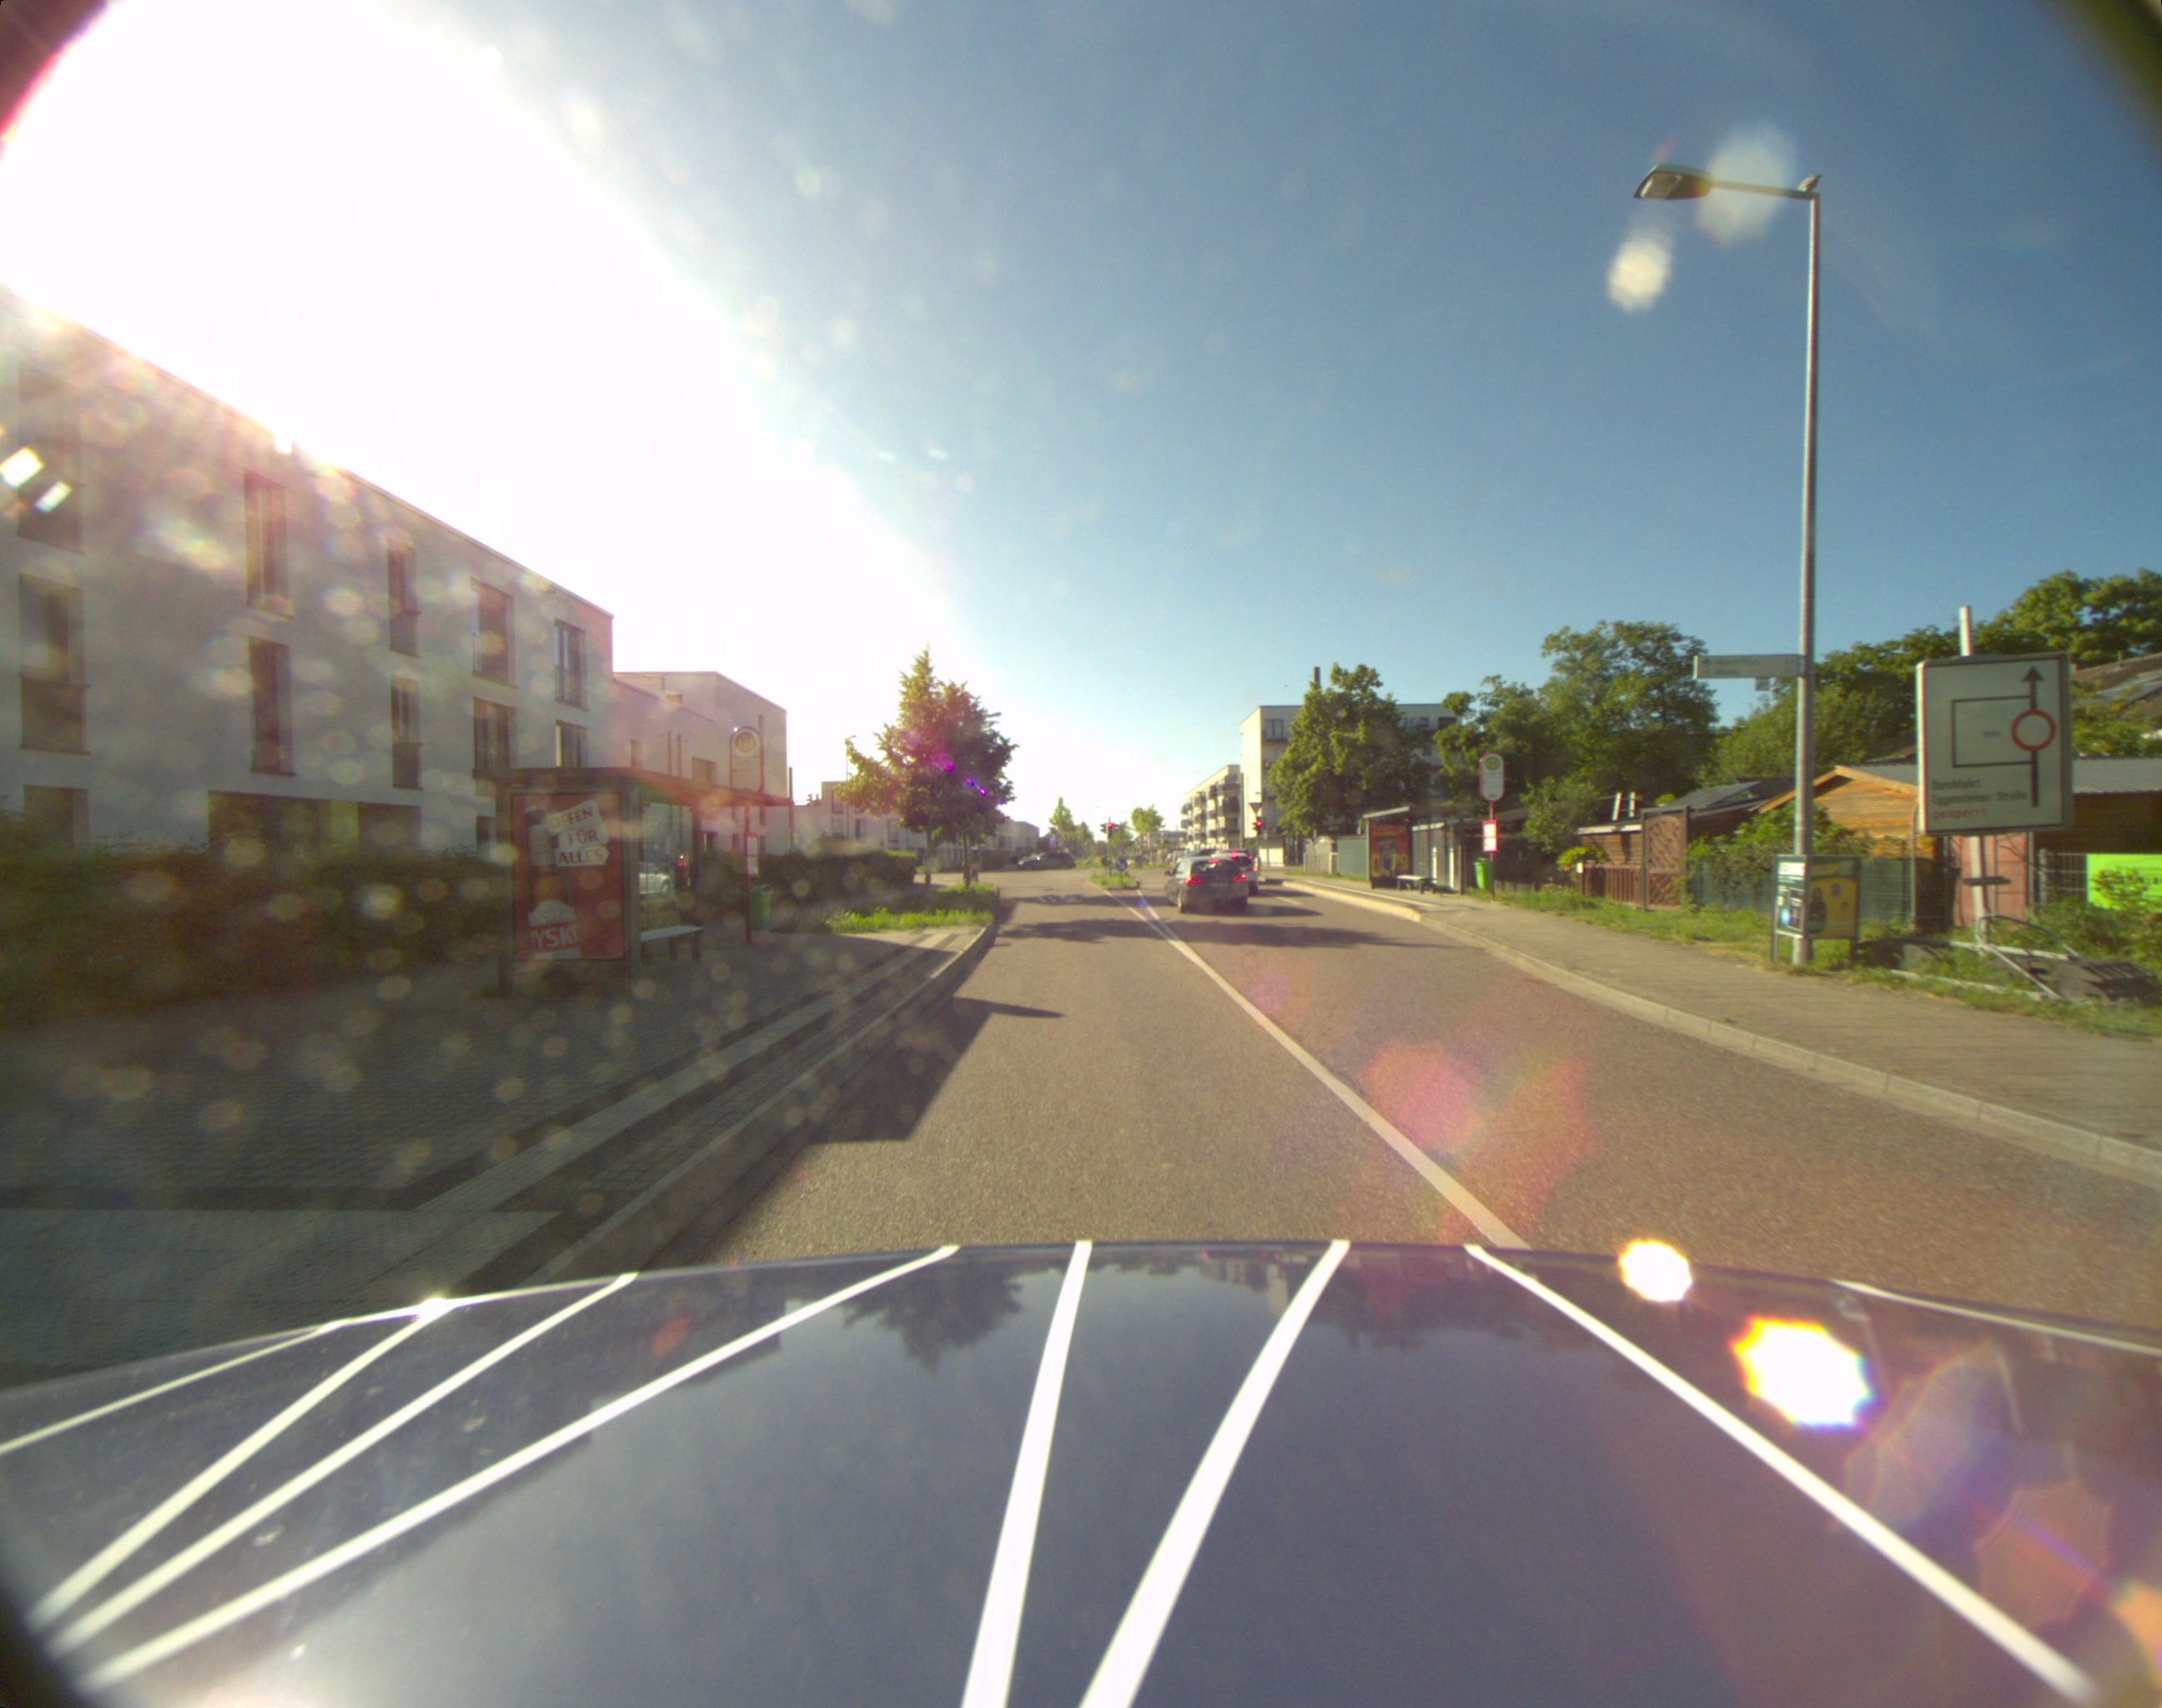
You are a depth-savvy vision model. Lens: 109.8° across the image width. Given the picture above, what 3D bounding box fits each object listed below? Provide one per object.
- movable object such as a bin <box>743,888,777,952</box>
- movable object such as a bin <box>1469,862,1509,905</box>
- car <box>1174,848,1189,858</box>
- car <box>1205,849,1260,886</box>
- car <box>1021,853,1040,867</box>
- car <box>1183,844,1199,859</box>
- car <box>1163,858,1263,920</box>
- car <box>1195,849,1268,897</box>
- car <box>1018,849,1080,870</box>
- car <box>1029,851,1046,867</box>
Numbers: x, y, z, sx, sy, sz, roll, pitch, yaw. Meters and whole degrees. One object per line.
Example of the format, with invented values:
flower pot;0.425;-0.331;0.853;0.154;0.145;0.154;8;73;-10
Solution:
movable object such as a bin;-5.282;1.075;12.521;0.370;1.010;0.599;-1;0;-10
movable object such as a bin;9.788;0.695;18.232;0.594;0.962;0.558;-5;0;4
car;16.743;-0.197;126.833;1.998;1.544;3.999;0;2;2
car;6.898;0.561;35.006;1.944;1.579;4.181;-1;0;4
car;-6.073;0.731;91.137;2.008;1.655;3.999;-1;0;-1
car;15.960;-0.428;110.719;1.998;2.003;3.999;0;2;3
car;3.543;0.890;21.244;1.998;1.435;4.450;-2;0;0
car;5.447;0.637;28.020;2.214;1.582;4.536;-1;1;6
car;-2.680;0.464;65.404;5.194;1.727;2.000;-1;0;1
car;-5.770;0.648;100.496;1.999;2.002;3.999;-1;0;-1
